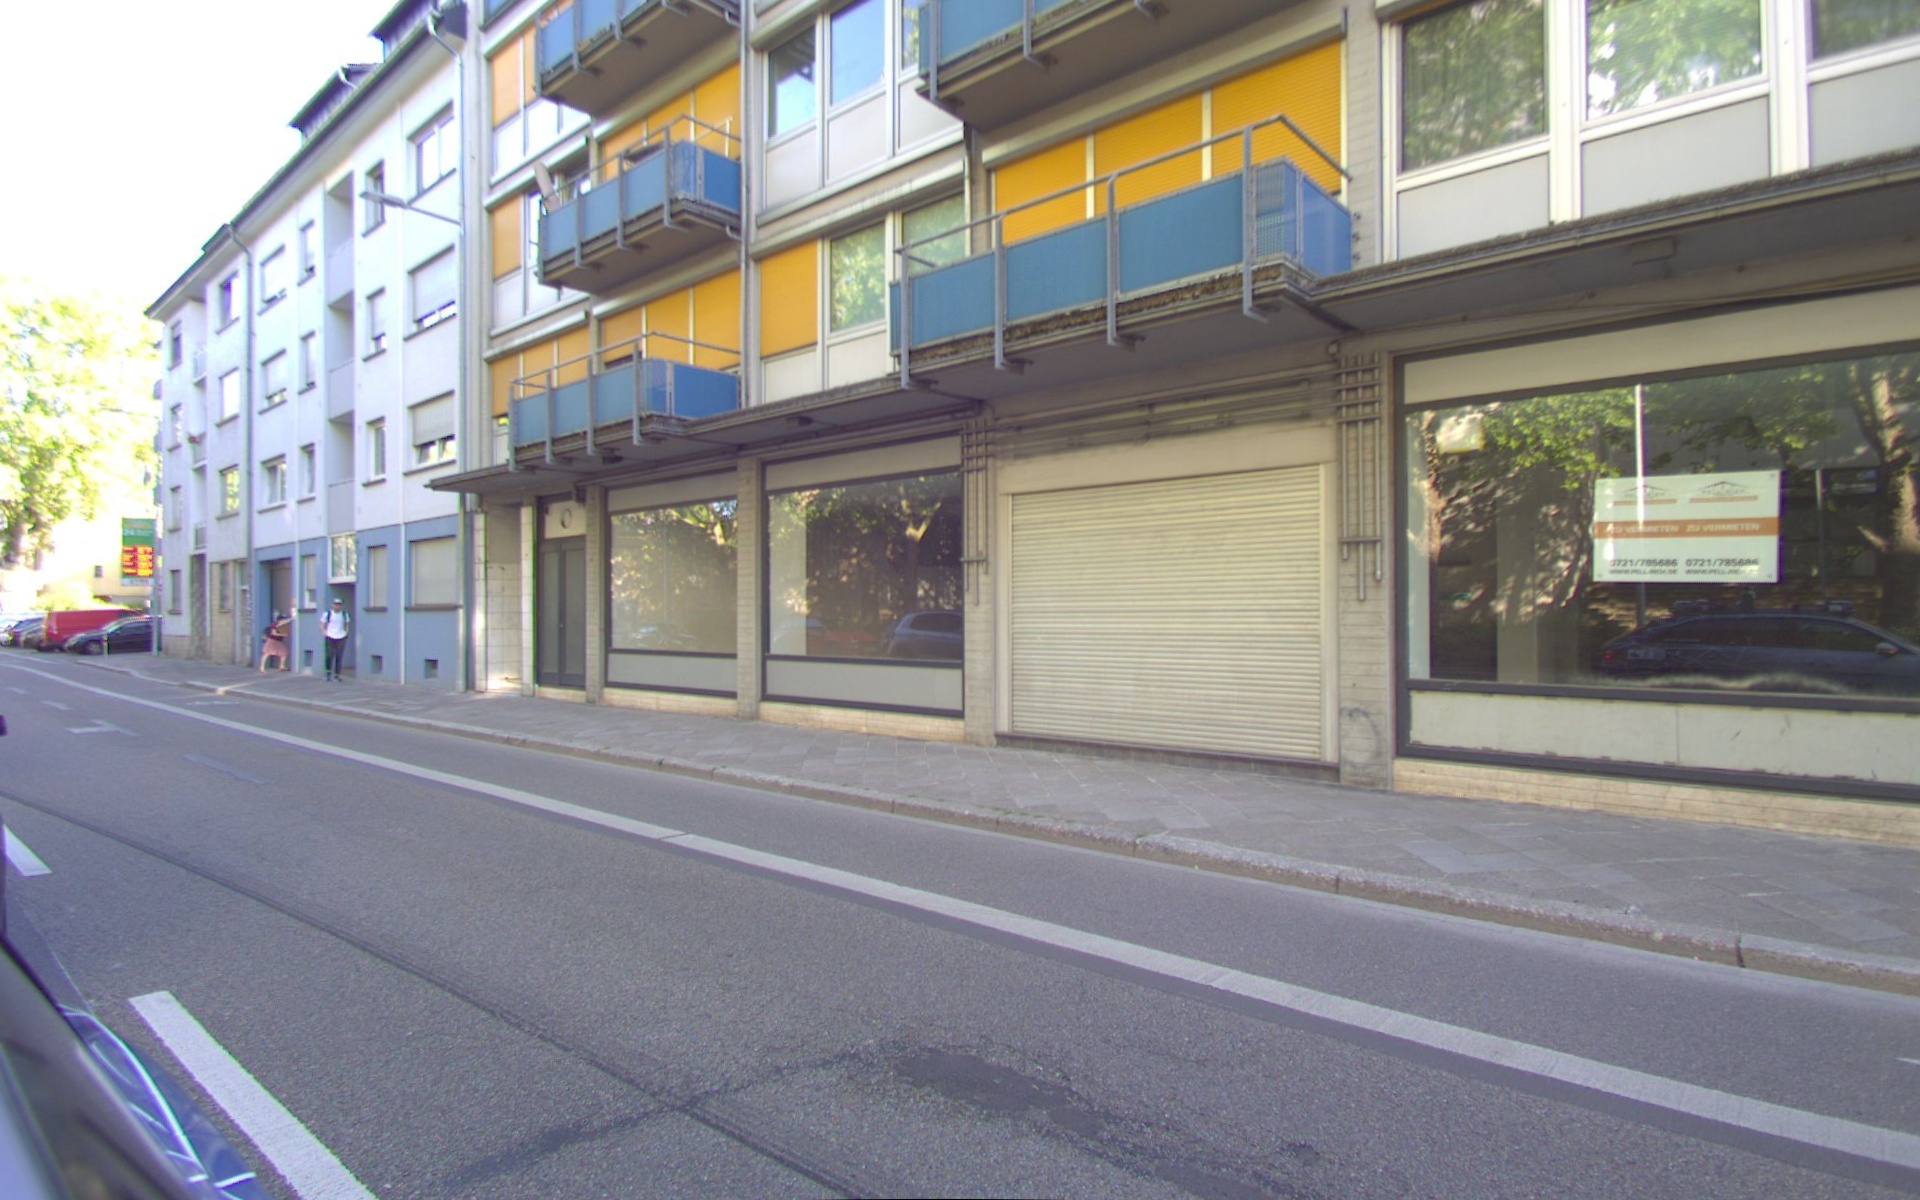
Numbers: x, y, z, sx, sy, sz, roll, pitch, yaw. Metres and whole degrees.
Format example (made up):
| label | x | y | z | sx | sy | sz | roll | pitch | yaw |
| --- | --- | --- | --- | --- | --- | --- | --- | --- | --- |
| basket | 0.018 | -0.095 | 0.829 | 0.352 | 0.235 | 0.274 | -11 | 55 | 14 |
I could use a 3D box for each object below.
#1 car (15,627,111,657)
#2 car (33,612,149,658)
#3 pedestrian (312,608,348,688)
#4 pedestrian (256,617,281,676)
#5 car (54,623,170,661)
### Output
| label | x | y | z | sx | sy | sz | roll | pitch | yaw |
| --- | --- | --- | --- | --- | --- | --- | --- | --- | --- |
| car | -43.013 | 2.003 | 48.569 | 1.294 | 1.258 | 3.283 | -1 | 0 | 41 |
| car | -40.624 | 1.585 | 47.378 | 1.635 | 1.937 | 3.878 | -1 | 0 | 41 |
| pedestrian | -14.046 | 1.062 | 22.550 | 0.343 | 1.739 | 0.562 | -2 | 0 | 41 |
| pedestrian | -18.447 | 1.233 | 26.999 | 0.337 | 1.529 | 0.571 | -2 | 0 | -15 |
| car | -36.680 | 1.771 | 43.843 | 1.635 | 1.422 | 3.623 | -1 | 0 | 41 |
